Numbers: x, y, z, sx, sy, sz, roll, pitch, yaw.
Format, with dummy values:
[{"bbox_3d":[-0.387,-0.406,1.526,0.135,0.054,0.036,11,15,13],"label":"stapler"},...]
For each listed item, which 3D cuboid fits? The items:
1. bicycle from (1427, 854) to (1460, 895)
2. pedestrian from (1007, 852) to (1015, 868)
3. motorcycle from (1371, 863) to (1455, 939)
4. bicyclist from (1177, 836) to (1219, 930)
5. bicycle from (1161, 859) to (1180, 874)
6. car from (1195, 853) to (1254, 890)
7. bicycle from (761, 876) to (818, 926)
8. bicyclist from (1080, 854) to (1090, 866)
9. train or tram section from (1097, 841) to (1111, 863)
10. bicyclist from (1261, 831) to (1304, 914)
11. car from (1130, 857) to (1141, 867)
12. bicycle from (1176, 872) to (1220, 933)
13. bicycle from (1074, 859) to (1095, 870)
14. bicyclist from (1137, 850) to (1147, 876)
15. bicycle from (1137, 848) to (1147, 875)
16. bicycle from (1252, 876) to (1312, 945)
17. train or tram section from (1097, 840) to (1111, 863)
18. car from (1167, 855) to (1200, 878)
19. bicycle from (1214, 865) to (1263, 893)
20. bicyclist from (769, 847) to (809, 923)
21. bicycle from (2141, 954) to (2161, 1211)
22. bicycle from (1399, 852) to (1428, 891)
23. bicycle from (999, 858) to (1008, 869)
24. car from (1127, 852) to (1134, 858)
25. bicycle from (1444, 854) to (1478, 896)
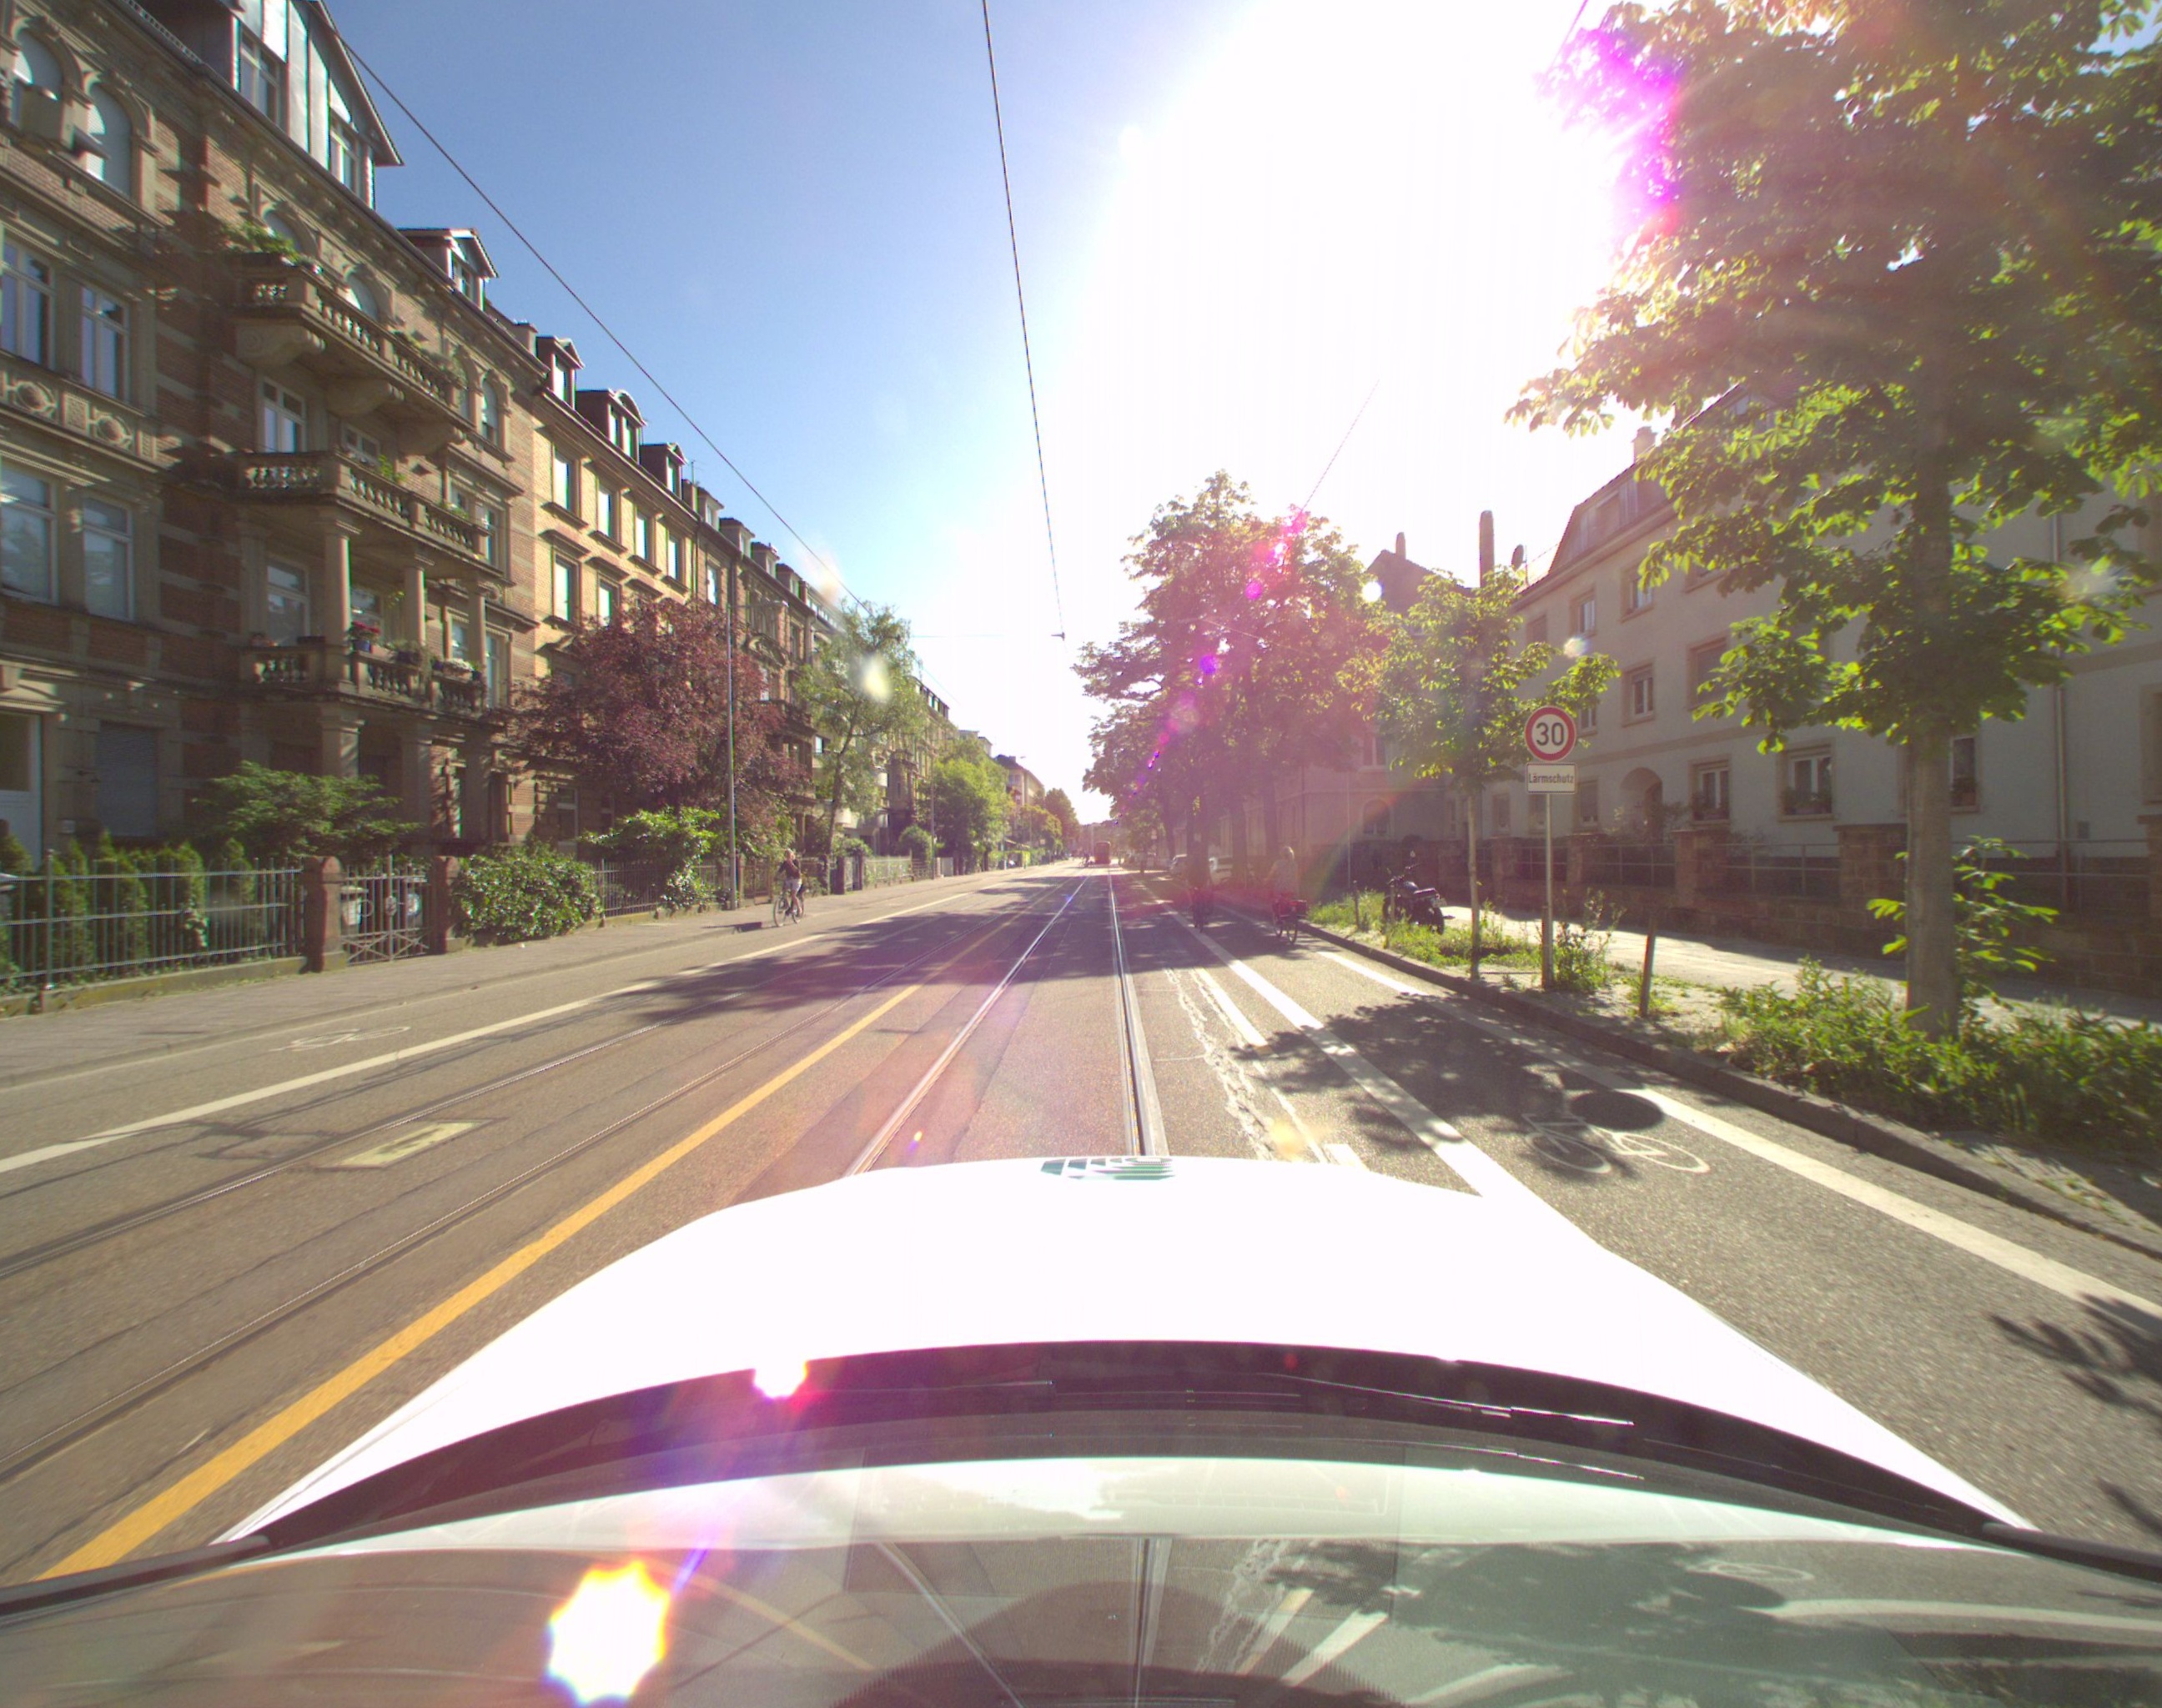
[{"bbox_3d":[11.060,0.601,24.857,0.433,1.223,1.374,0,0,2],"label":"bicycle"},{"bbox_3d":[-7.549,0.654,87.887,0.767,1.712,0.669,1,0,1],"label":"pedestrian"},{"bbox_3d":[5.789,0.785,14.320,0.494,1.190,1.858,-4,1,-6],"label":"motorcycle"},{"bbox_3d":[2.369,0.578,16.584,0.725,1.848,0.837,1,0,1],"label":"bicyclist"},{"bbox_3d":[6.506,0.899,59.180,1.262,1.024,0.706,1,-1,9],"label":"bicycle"},{"bbox_3d":[6.111,0.690,35.177,1.624,1.436,4.662,-1,0,-1],"label":"car"},{"bbox_3d":[-7.071,1.123,19.868,0.689,1.112,1.719,-2,0,2],"label":"bicycle"},{"bbox_3d":[0.427,0.639,86.506,0.766,1.291,0.736,1,0,18],"label":"bicyclist"},{"bbox_3d":[3.709,-0.330,132.200,2.145,3.431,6.613,1,0,1],"label":"train or tram section"},{"bbox_3d":[3.628,0.323,14.711,0.633,1.468,0.616,1,0,1],"label":"bicyclist"},{"bbox_3d":[9.180,1.352,136.668,1.748,1.552,3.678,0,0,1],"label":"car"},{"bbox_3d":[2.347,0.957,16.543,0.689,1.112,1.719,1,0,2],"label":"bicycle"},{"bbox_3d":[0.358,1.125,86.632,2.123,1.171,0.806,1,0,16],"label":"bicycle"},{"bbox_3d":[4.378,0.641,58.276,0.643,1.796,0.956,1,0,1],"label":"bicyclist"},{"bbox_3d":[4.436,0.536,58.913,0.660,1.859,2.261,1,0,3],"label":"bicycle"},{"bbox_3d":[3.639,0.997,14.890,0.689,1.112,1.918,1,0,2],"label":"bicycle"},{"bbox_3d":[3.549,-0.324,125.567,2.145,3.431,6.613,1,0,1],"label":"train or tram section"},{"bbox_3d":[6.714,0.822,53.879,1.742,1.420,4.001,-2,0,1],"label":"car"},{"bbox_3d":[6.236,0.984,32.321,1.786,1.019,0.620,-3,0,1],"label":"bicycle"},{"bbox_3d":[-7.080,0.749,19.785,0.658,1.801,0.616,-3,-1,1],"label":"bicyclist"},{"bbox_3d":[5.403,0.926,3.186,1.789,1.067,0.620,-2,0,-4],"label":"bicycle"},{"bbox_3d":[10.753,0.558,26.366,0.433,1.223,1.374,0,0,2],"label":"bicycle"},{"bbox_3d":[-8.011,0.984,84.614,0.634,1.069,1.822,1,0,-15],"label":"bicycle"},{"bbox_3d":[14.143,0.314,234.616,1.865,1.662,3.516,1,0,1],"label":"car"},{"bbox_3d":[11.567,0.617,24.823,0.433,1.223,1.374,0,0,2],"label":"bicycle"}]
